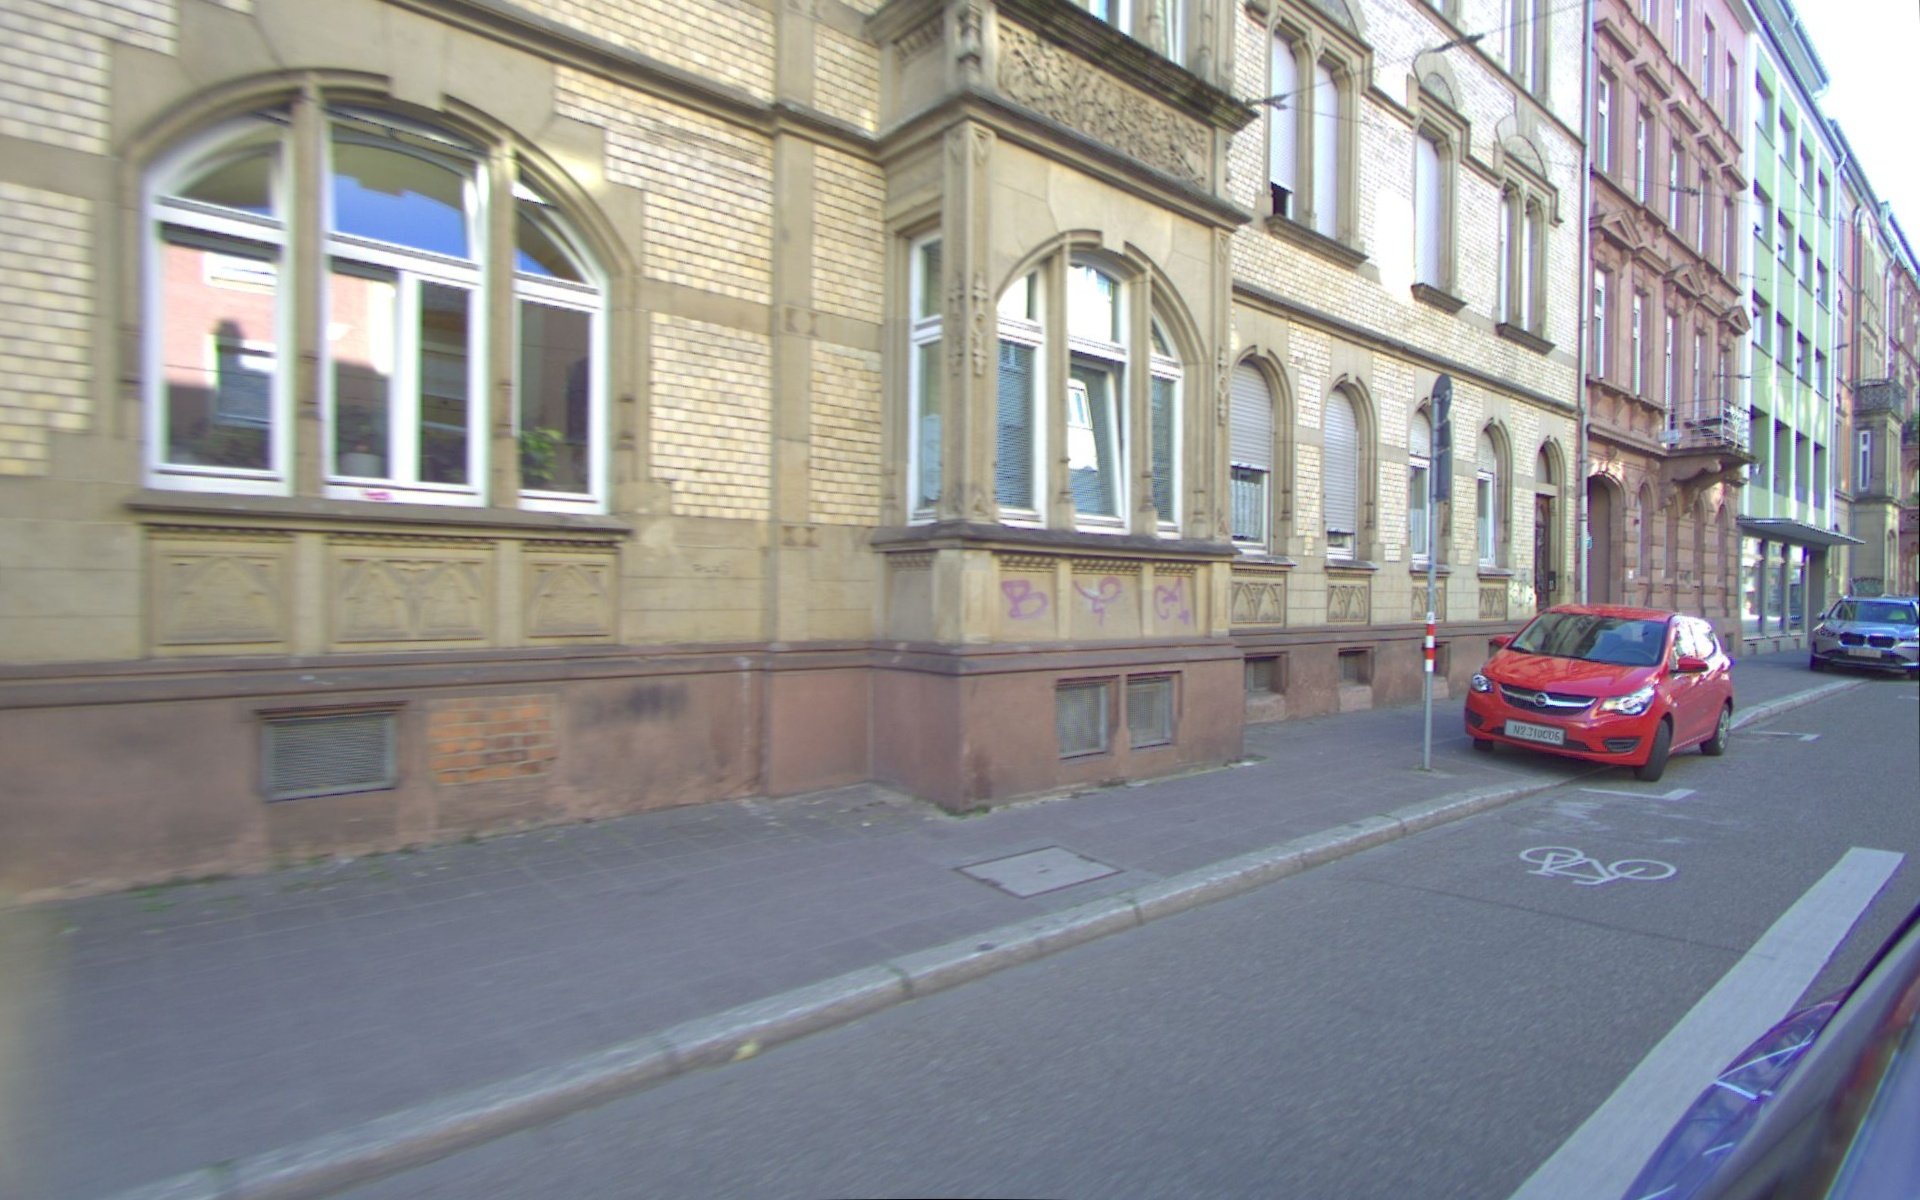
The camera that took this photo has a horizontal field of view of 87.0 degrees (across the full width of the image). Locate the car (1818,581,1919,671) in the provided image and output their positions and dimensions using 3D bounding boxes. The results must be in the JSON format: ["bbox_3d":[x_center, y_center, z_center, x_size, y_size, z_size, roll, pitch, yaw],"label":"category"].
[{"bbox_3d":[19.940,0.490,21.752,4.330,1.666,1.868,-1,5,-45],"label":"car"}]

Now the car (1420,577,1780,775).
[{"bbox_3d":[6.600,0.573,10.239,4.325,1.500,1.870,-1,4,-41],"label":"car"}]

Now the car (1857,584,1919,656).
[{"bbox_3d":[24.233,0.474,25.340,4.703,1.635,1.998,-1,4,-41],"label":"car"}]
